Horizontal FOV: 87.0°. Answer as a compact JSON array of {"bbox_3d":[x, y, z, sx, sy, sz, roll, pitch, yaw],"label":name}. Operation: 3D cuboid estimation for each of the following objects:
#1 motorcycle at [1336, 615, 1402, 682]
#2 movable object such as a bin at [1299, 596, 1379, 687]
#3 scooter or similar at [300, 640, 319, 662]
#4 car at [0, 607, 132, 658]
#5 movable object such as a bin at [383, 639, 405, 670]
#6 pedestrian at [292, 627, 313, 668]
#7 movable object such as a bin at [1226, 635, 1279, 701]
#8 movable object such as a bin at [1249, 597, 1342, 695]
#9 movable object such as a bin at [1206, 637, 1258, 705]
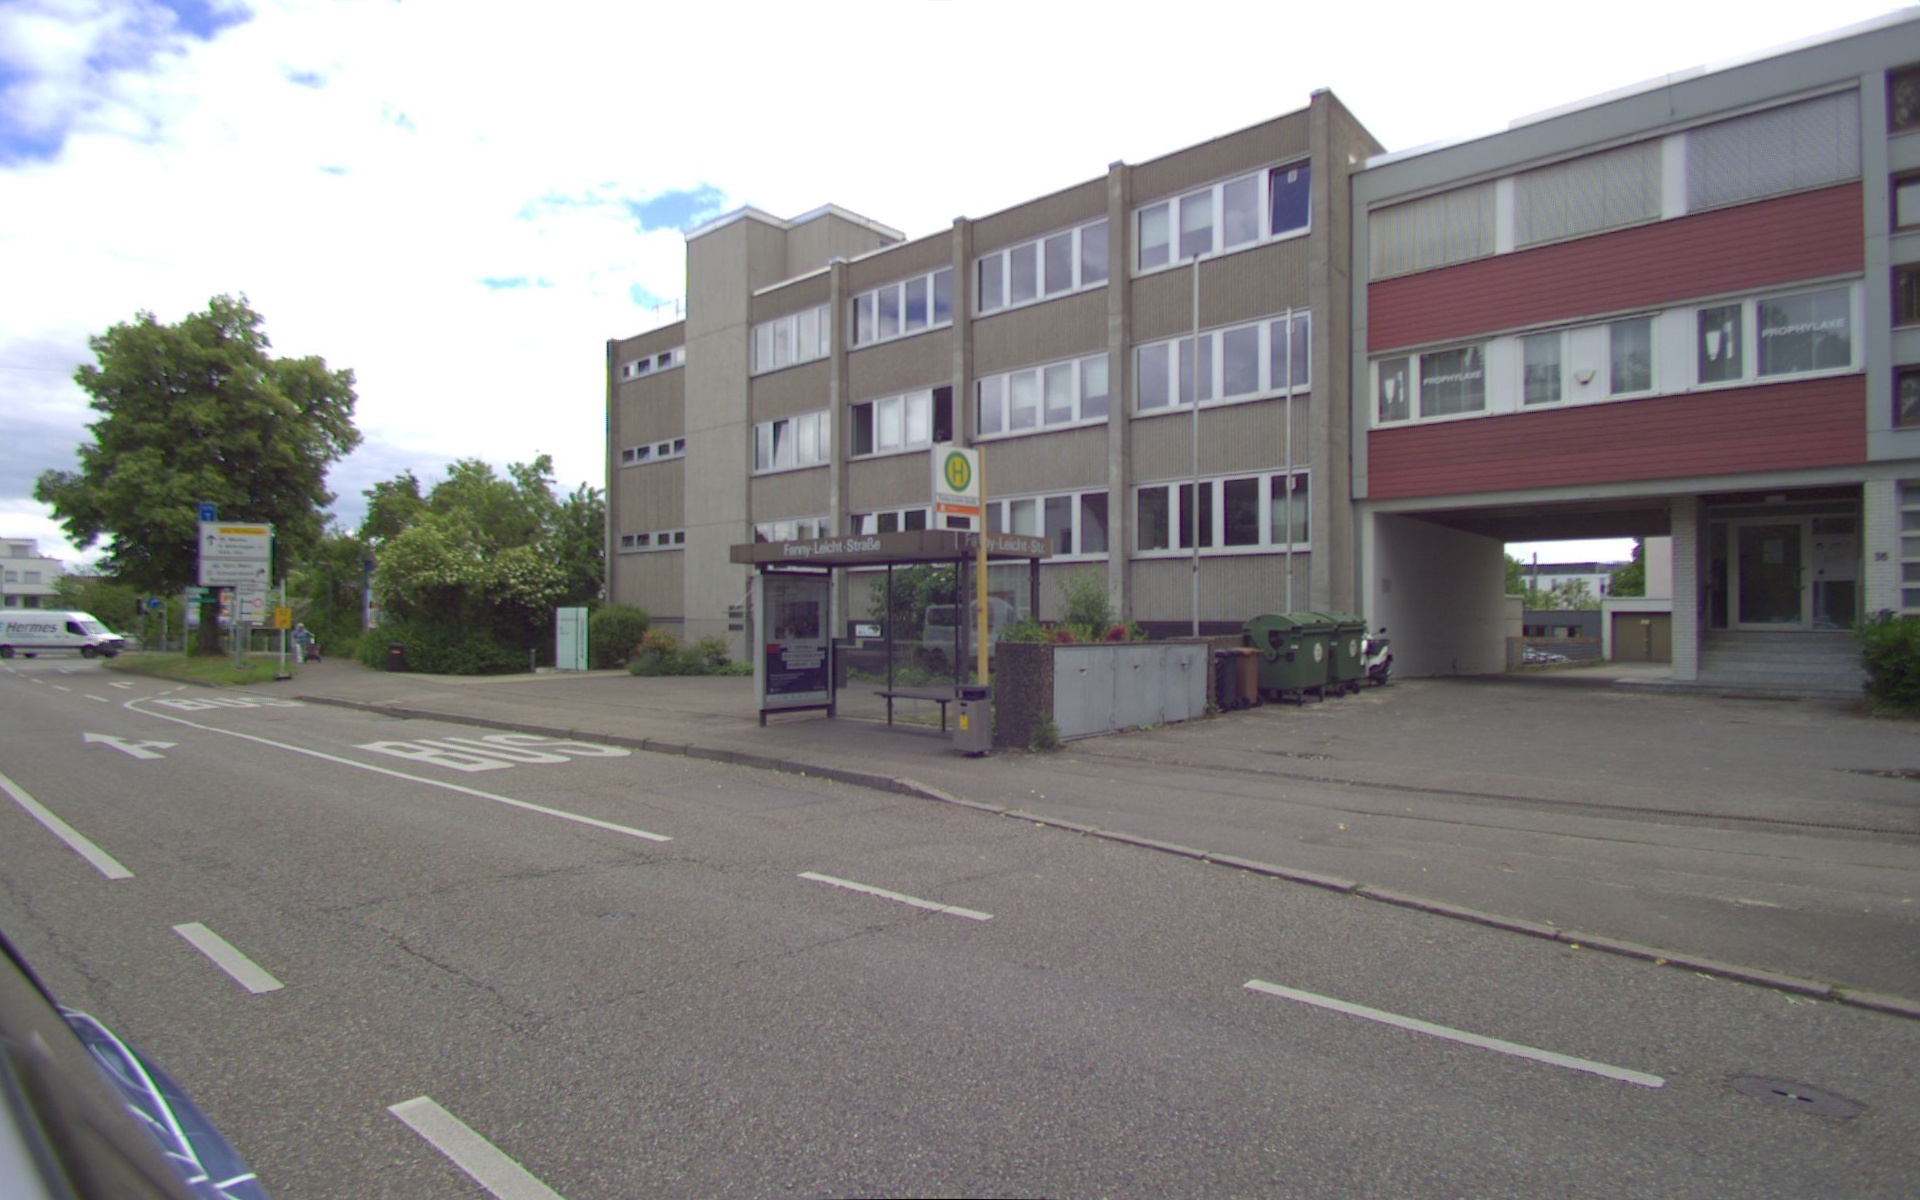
[{"bbox_3d":[7.682,0.885,18.984,0.639,1.148,1.624,-1,1,41],"label":"motorcycle"},{"bbox_3d":[6.622,0.695,17.654,0.884,1.476,1.347,-1,1,41],"label":"movable object such as a bin"},{"bbox_3d":[-25.557,1.996,39.761,0.598,0.792,0.861,-2,1,-32],"label":"scooter or similar"},{"bbox_3d":[-51.695,1.809,57.278,7.327,2.665,2.202,-1,0,-8],"label":"car"},{"bbox_3d":[-18.030,1.739,32.258,0.558,0.934,0.609,-1,0,-33],"label":"movable object such as a bin"},{"bbox_3d":[-26.227,1.884,40.373,0.662,1.570,0.521,-1,0,-32],"label":"pedestrian"},{"bbox_3d":[4.465,1.025,15.453,0.562,0.946,0.626,-1,1,41],"label":"movable object such as a bin"},{"bbox_3d":[5.442,0.712,16.375,0.992,1.476,1.285,-1,1,41],"label":"movable object such as a bin"},{"bbox_3d":[4.027,1.036,14.965,0.562,0.946,0.510,-1,1,41],"label":"movable object such as a bin"}]
